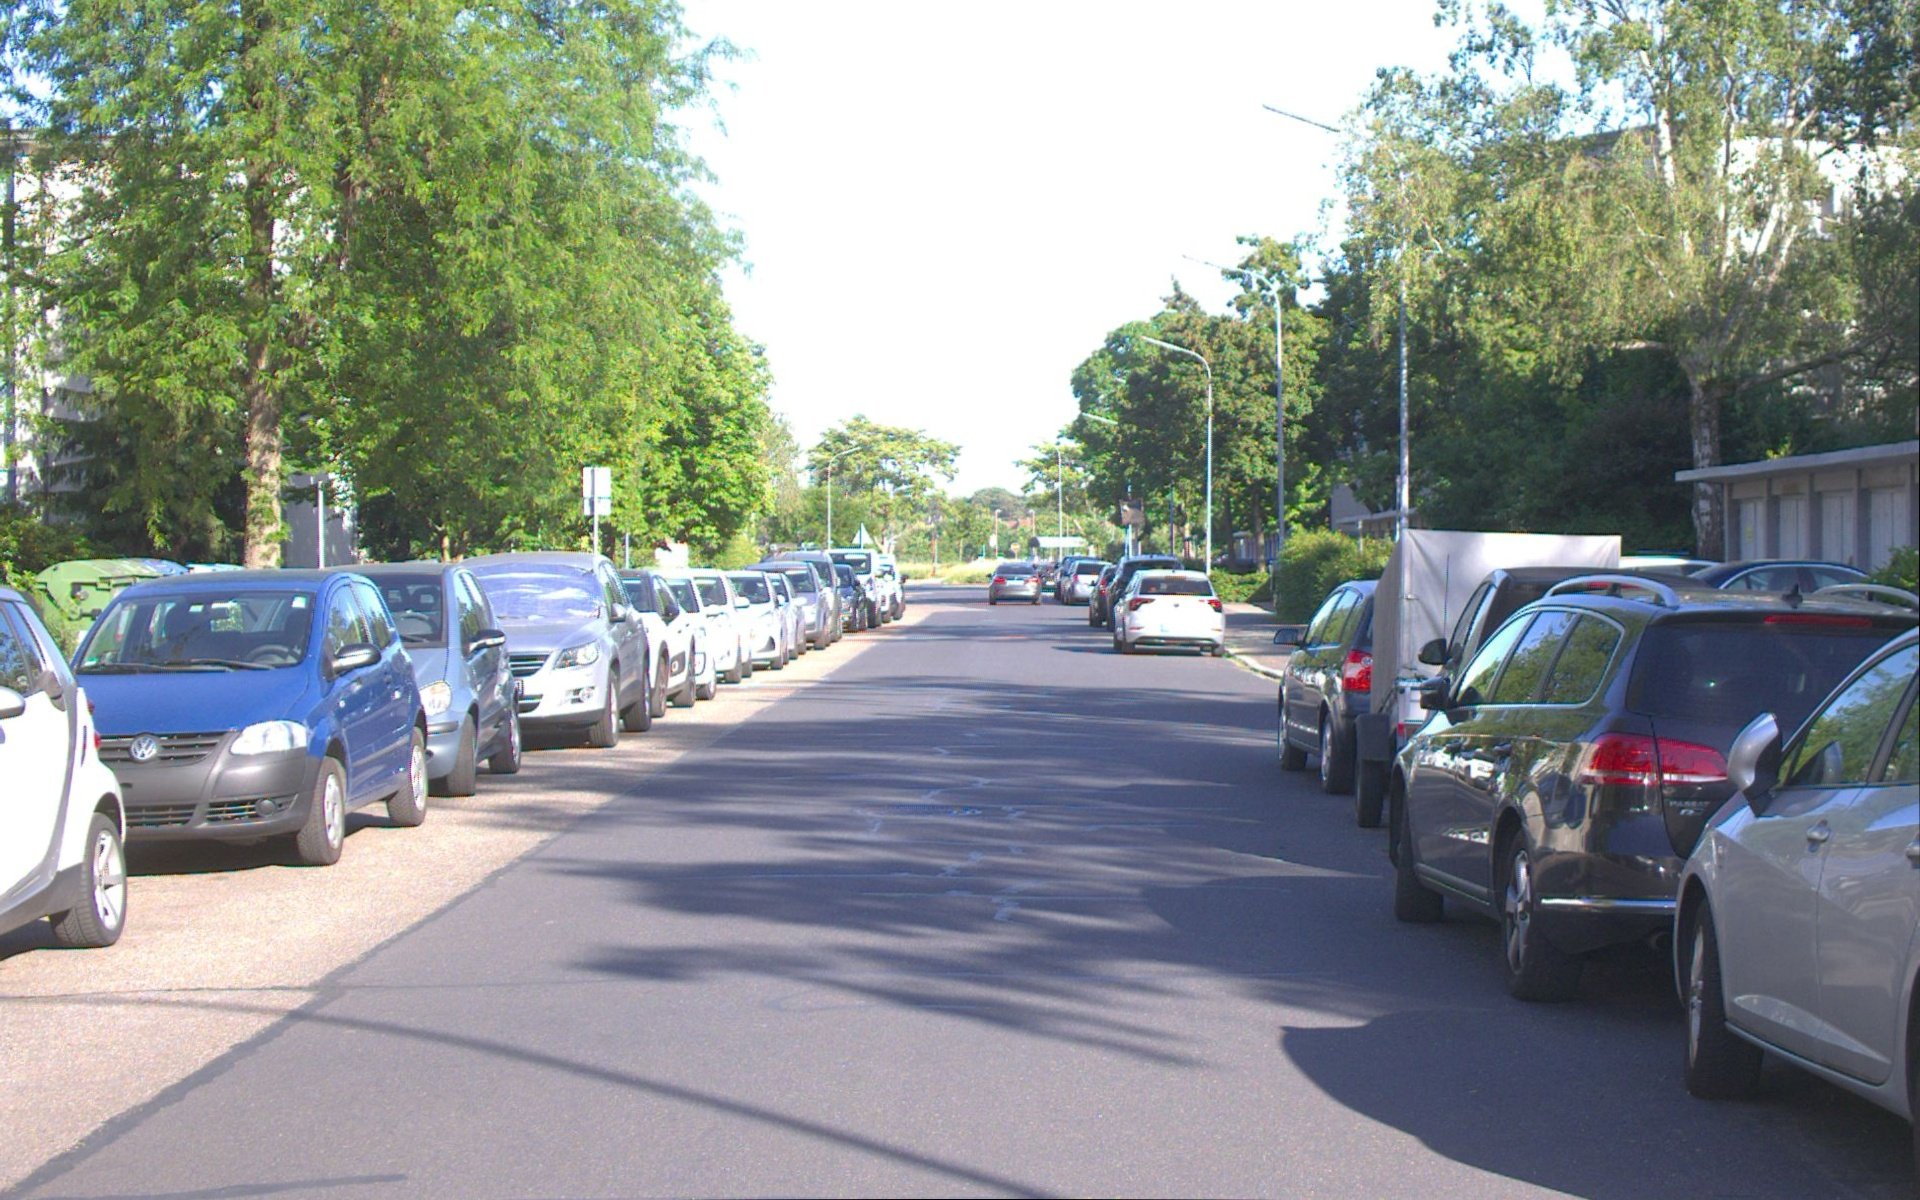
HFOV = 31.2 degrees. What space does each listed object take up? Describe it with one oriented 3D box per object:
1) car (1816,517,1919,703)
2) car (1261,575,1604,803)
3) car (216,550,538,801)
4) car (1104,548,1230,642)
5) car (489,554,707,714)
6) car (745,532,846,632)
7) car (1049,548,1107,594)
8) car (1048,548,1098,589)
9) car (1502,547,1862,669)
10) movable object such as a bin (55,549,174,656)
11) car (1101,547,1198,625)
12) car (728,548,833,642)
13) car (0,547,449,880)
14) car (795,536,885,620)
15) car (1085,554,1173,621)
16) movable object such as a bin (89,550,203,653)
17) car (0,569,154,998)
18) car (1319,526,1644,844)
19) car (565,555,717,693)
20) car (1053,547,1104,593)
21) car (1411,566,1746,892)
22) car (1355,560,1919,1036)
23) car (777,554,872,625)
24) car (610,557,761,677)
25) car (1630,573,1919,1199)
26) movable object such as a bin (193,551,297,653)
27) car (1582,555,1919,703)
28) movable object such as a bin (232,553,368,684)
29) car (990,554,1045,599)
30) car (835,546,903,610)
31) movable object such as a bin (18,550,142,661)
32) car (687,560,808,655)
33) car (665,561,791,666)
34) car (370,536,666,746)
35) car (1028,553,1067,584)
[{"bbox_3d":[9.442,0.030,28.988,3.942,1.508,1.829,-1,1,-2],"label":"car"},{"bbox_3d":[3.209,0.559,24.066,1.731,1.399,3.895,1,1,-2],"label":"car"},{"bbox_3d":[-4.008,0.467,24.117,1.635,1.600,3.535,-1,1,0],"label":"car"},{"bbox_3d":[3.511,-0.107,58.908,1.753,1.508,4.104,2,1,-2],"label":"car"},{"bbox_3d":[-3.640,0.301,35.173,1.662,1.508,3.945,-1,1,2],"label":"car"},{"bbox_3d":[-3.274,-0.379,69.095,1.854,1.886,4.418,-1,1,-1],"label":"car"},{"bbox_3d":[4.133,-1.030,121.220,1.795,1.556,3.952,1,1,-2],"label":"car"},{"bbox_3d":[4.648,-1.314,141.743,1.795,1.638,3.952,1,1,-2],"label":"car"},{"bbox_3d":[9.574,0.094,45.819,4.415,1.508,1.829,-1,1,2],"label":"car"},{"bbox_3d":[-11.743,0.020,47.786,1.177,1.416,1.462,2,1,3],"label":"movable object such as a bin"},{"bbox_3d":[4.101,-0.328,75.144,1.908,1.634,4.628,1,1,1],"label":"car"},{"bbox_3d":[-3.244,-0.117,62.756,1.709,1.595,3.986,-2,1,-1],"label":"car"},{"bbox_3d":[-4.089,0.542,19.085,1.754,1.600,3.968,-2,1,2],"label":"car"},{"bbox_3d":[-2.911,-0.562,84.371,1.915,1.956,5.087,-1,1,1],"label":"car"},{"bbox_3d":[3.959,-0.314,80.998,1.908,1.525,4.328,1,1,1],"label":"car"},{"bbox_3d":[-11.657,0.010,49.305,1.177,1.416,1.462,2,1,3],"label":"movable object such as a bin"},{"bbox_3d":[-4.283,0.697,13.516,1.444,1.569,3.142,-2,1,0],"label":"car"},{"bbox_3d":[3.002,0.450,20.187,1.489,1.712,2.583,1,1,0],"label":"car"},{"bbox_3d":[-3.719,0.246,40.049,1.662,1.508,3.539,-1,1,-5],"label":"car"},{"bbox_3d":[4.716,-1.197,137.119,1.795,1.780,3.952,1,1,-2],"label":"car"},{"bbox_3d":[3.122,0.601,17.718,1.415,1.518,2.557,1,1,5],"label":"car"},{"bbox_3d":[2.729,0.610,13.304,1.731,1.485,4.502,-1,1,-2],"label":"car"},{"bbox_3d":[-3.059,-0.270,78.191,1.746,1.528,4.138,-1,1,3],"label":"car"},{"bbox_3d":[-3.672,0.196,46.519,1.686,1.529,3.891,-1,1,0],"label":"car"},{"bbox_3d":[2.868,0.705,8.435,1.623,1.485,4.036,1,1,0],"label":"car"},{"bbox_3d":[-10.357,0.023,49.856,1.134,1.416,1.361,2,1,2],"label":"movable object such as a bin"},{"bbox_3d":[9.208,0.291,37.538,4.513,1.508,1.829,-1,1,2],"label":"car"},{"bbox_3d":[-7.340,0.191,38.310,1.136,1.378,1.442,2,1,2],"label":"movable object such as a bin"},{"bbox_3d":[1.996,-0.841,120.028,1.679,1.508,4.104,2,1,-2],"label":"car"},{"bbox_3d":[-2.572,-0.642,98.157,1.746,1.726,4.005,-1,1,1],"label":"car"},{"bbox_3d":[-11.802,0.060,46.153,1.177,1.416,1.462,2,1,3],"label":"movable object such as a bin"},{"bbox_3d":[-3.528,0.100,57.768,1.686,1.460,4.526,-2,1,0],"label":"car"},{"bbox_3d":[-3.491,0.179,52.217,1.686,1.500,3.818,-1,1,-1],"label":"car"},{"bbox_3d":[-3.718,0.299,29.648,1.903,1.634,4.349,-1,1,1],"label":"car"},{"bbox_3d":[4.489,-1.623,176.622,1.795,1.543,3.952,1,1,-2],"label":"car"}]
